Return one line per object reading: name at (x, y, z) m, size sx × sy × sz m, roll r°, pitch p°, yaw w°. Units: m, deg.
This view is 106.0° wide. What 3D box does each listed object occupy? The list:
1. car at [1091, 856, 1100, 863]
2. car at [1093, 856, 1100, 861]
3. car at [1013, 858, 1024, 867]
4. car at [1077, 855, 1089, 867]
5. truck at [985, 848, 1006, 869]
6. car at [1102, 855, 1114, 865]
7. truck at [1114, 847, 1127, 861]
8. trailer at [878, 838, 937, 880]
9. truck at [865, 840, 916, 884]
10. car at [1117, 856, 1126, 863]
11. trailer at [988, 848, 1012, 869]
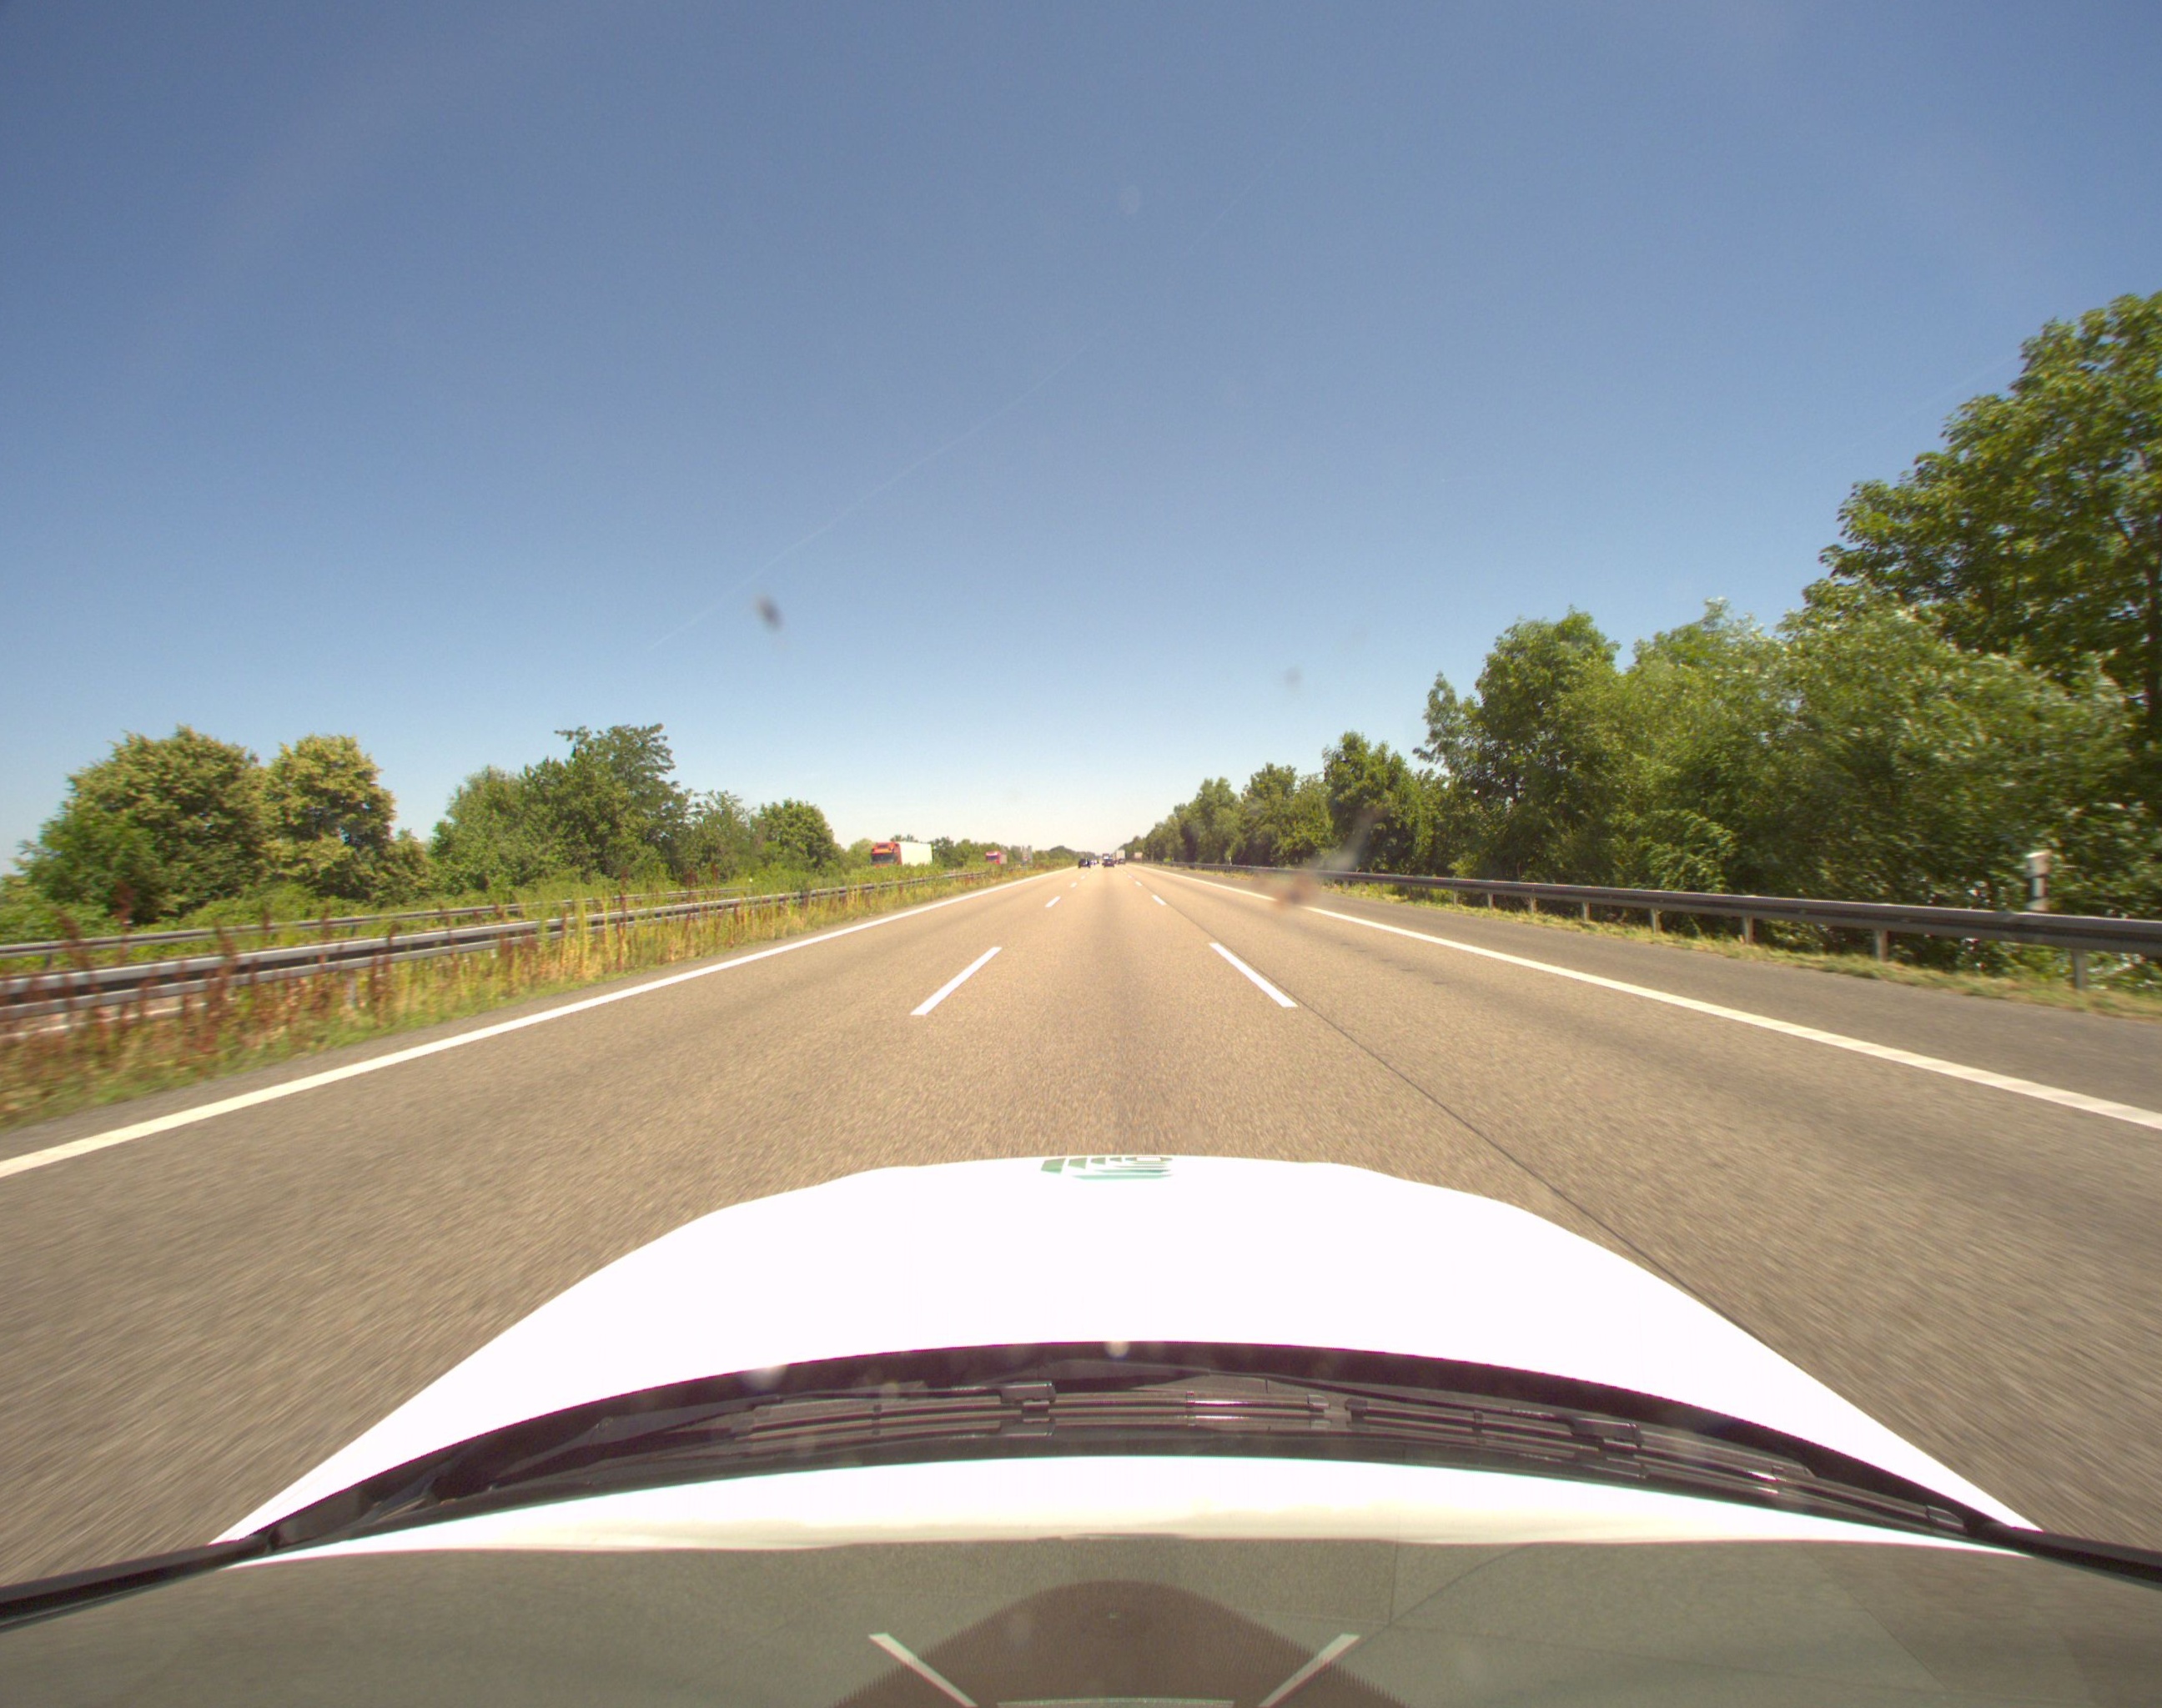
car at (3.580, 1.386, 200.369) m, size 2.120 × 1.645 × 4.306 m, roll -3°, pitch 0°, yaw 2°
car at (4.996, 1.397, 256.074) m, size 2.120 × 1.645 × 4.306 m, roll -3°, pitch 0°, yaw 2°
car at (-12.051, 1.696, 156.951) m, size 1.647 × 1.645 × 4.336 m, roll -3°, pitch 0°, yaw 2°
car at (0.336, 1.151, 133.303) m, size 1.874 × 1.792 × 4.001 m, roll -2°, pitch 1°, yaw 1°
truck at (-16.081, 0.810, 153.398) m, size 3.066 × 3.869 × 5.594 m, roll -3°, pitch 0°, yaw 2°
car at (4.358, 0.972, 131.147) m, size 1.895 × 1.584 × 4.306 m, roll -3°, pitch 0°, yaw 2°
truck at (11.286, -0.019, 232.317) m, size 3.372 × 3.970 × 9.542 m, roll -3°, pitch 0°, yaw 2°
trailer at (-18.372, 0.540, 87.241) m, size 2.722 × 3.935 × 13.071 m, roll -4°, pitch 0°, yaw 2°
truck at (-18.645, 0.754, 80.014) m, size 2.722 × 3.935 × 7.419 m, roll -4°, pitch 0°, yaw 2°
car at (10.050, 1.243, 200.833) m, size 2.120 × 1.584 × 4.306 m, roll -3°, pitch 0°, yaw 2°
trailer at (-15.780, 0.793, 159.998) m, size 3.066 × 3.869 × 10.913 m, roll -3°, pitch 0°, yaw 2°
